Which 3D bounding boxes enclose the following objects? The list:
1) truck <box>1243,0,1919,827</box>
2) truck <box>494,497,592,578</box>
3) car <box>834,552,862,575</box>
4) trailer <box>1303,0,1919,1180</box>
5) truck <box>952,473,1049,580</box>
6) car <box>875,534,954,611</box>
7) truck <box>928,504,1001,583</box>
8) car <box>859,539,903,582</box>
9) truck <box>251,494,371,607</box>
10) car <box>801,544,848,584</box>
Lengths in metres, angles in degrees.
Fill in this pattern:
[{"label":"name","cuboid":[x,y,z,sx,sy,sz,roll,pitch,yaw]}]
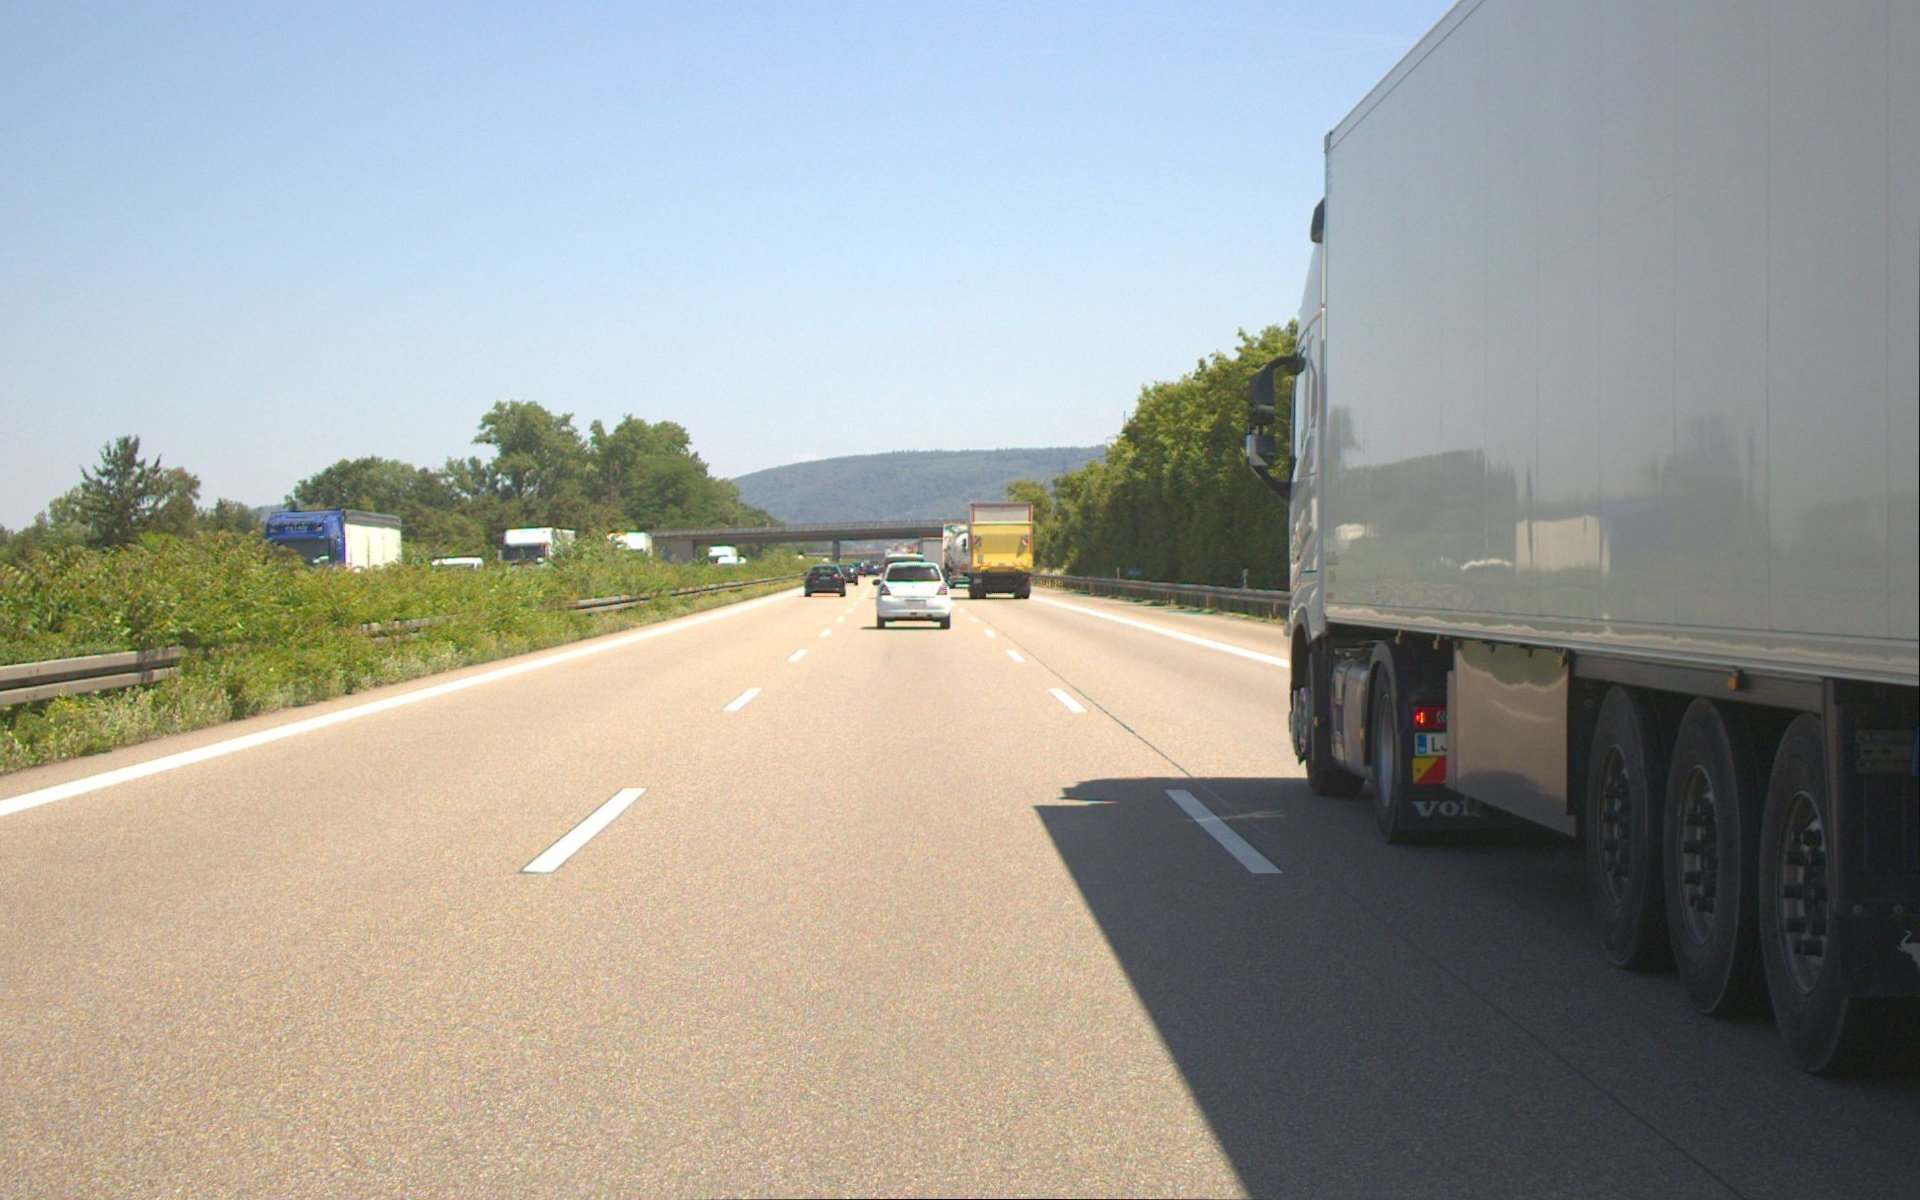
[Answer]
[{"label":"truck","cuboid":[3.651,-1.091,20.731,3.218,4.330,6.591,1,1,-1]},{"label":"truck","cuboid":[-23.304,-3.490,192.835,3.871,4.330,13.861,1,1,0]},{"label":"car","cuboid":[-7.544,-2.465,232.151,1.795,1.545,4.000,0,1,0]},{"label":"trailer","cuboid":[3.740,-0.948,13.491,3.218,4.330,13.630,1,1,-1]},{"label":"truck","cuboid":[1.633,-3.135,147.865,3.871,4.330,13.861,1,1,0]},{"label":"car","cuboid":[-1.065,-0.658,79.077,1.732,1.678,4.000,-1,1,-1]},{"label":"truck","cuboid":[0.203,-3.404,207.760,4.271,4.636,13.861,0,1,0]},{"label":"car","cuboid":[-3.293,-1.654,142.861,1.786,1.706,4.000,1,1,-1]},{"label":"truck","cuboid":[-22.504,-1.722,119.479,3.133,3.819,5.834,-1,1,-1]},{"label":"car","cuboid":[-6.005,-1.610,152.733,1.993,1.706,4.000,-1,1,-1]}]
